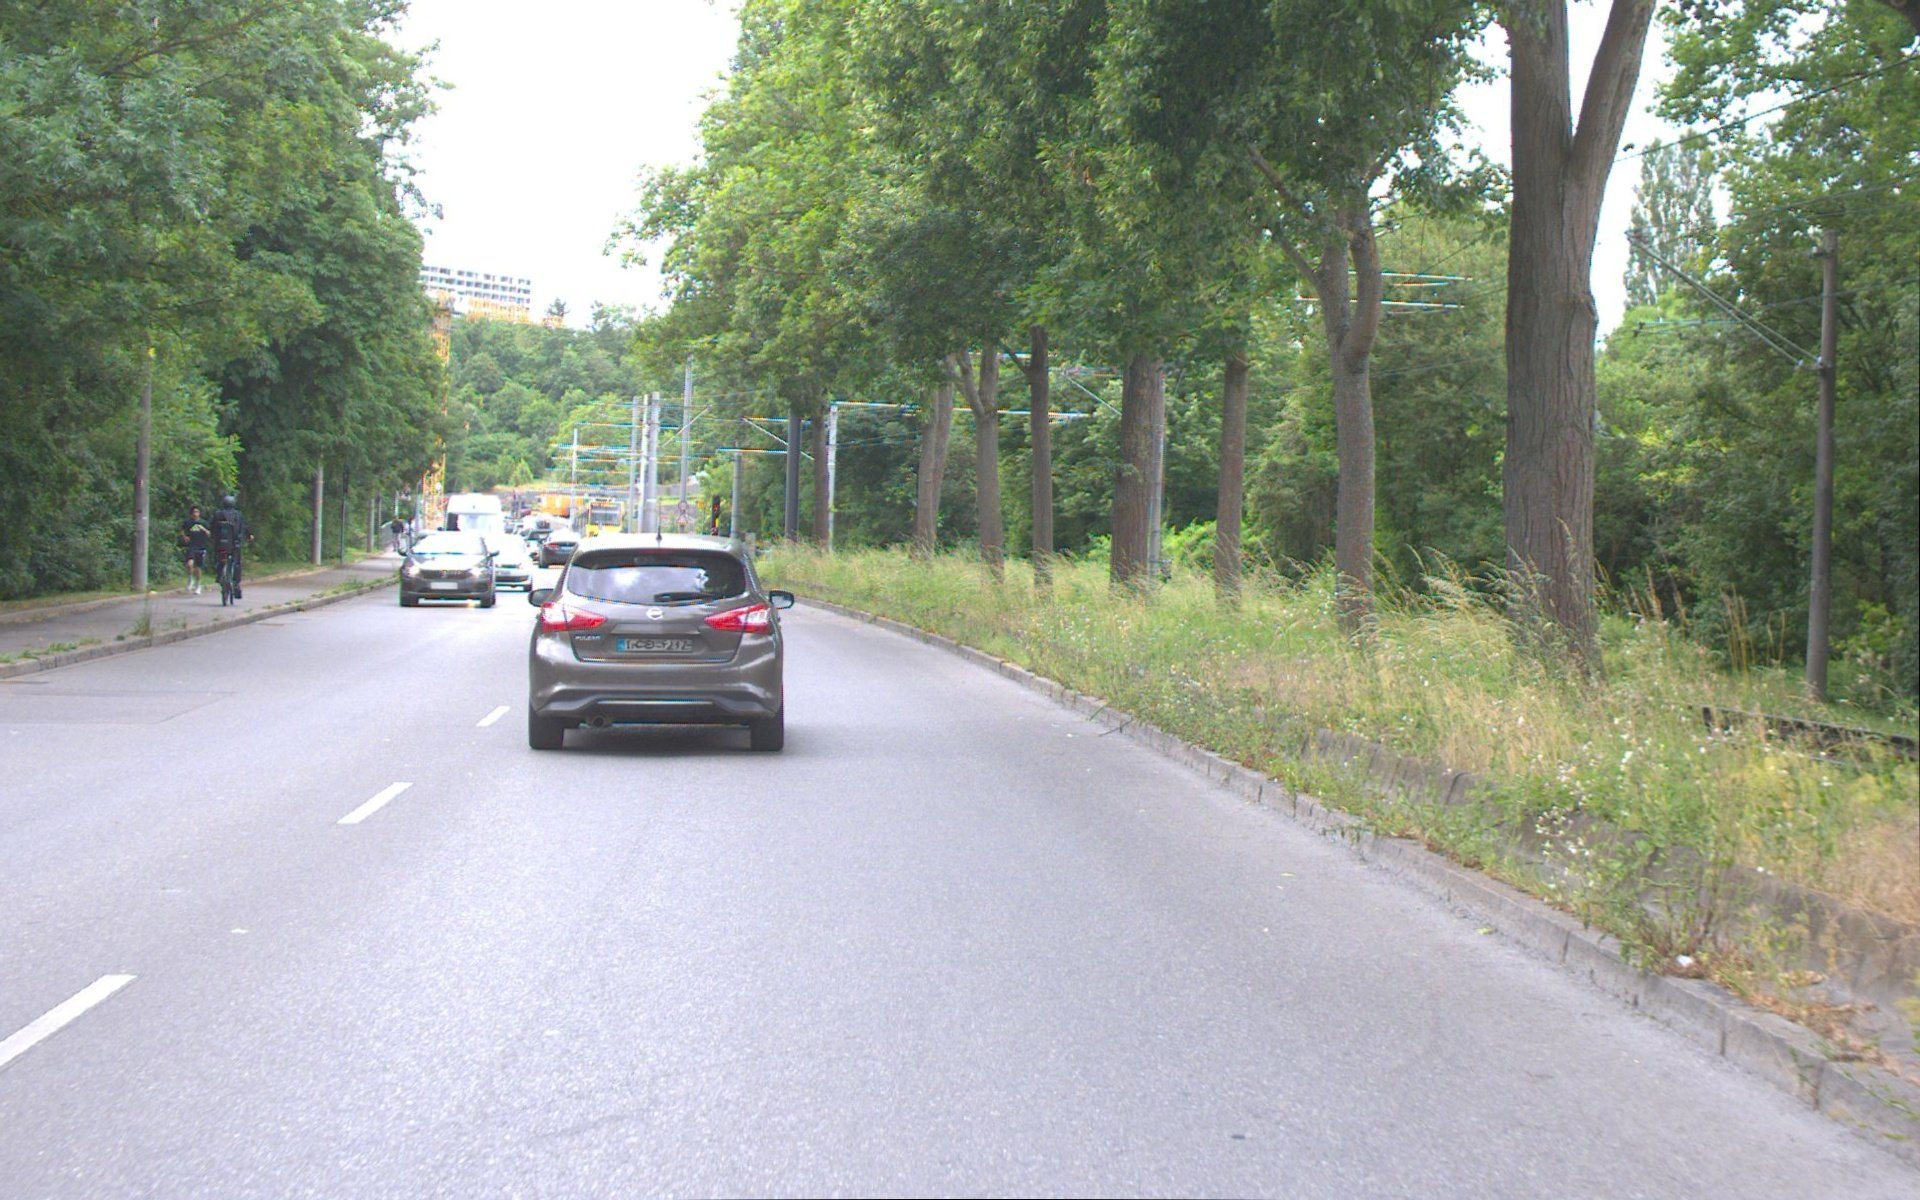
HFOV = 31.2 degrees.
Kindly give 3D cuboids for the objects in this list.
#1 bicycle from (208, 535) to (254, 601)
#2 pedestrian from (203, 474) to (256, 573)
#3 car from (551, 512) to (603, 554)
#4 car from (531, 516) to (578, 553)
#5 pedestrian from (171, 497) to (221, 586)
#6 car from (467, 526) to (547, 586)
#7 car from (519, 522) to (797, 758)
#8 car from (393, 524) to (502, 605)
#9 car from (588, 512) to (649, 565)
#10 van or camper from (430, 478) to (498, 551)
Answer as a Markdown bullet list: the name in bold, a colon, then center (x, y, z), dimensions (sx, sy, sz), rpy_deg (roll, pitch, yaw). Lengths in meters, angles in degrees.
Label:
- **bicycle**: center (-11.989, -0.529, 56.552), dimensions (0.488, 1.027, 1.124), rpy_deg (4, 2, -2)
- **pedestrian**: center (-11.997, -1.261, 56.492), dimensions (0.617, 1.566, 0.849), rpy_deg (4, 2, -2)
- **car**: center (-15.172, -2.660, 136.331), dimensions (1.775, 1.467, 4.001), rpy_deg (4, 2, -4)
- **car**: center (-17.759, -2.880, 150.721), dimensions (1.775, 1.467, 4.001), rpy_deg (3, 2, -4)
- **pedestrian**: center (-14.199, -1.092, 63.909), dimensions (0.695, 1.616, 0.684), rpy_deg (4, 2, -3)
- **car**: center (-11.382, -1.119, 86.453), dimensions (1.724, 1.326, 3.476), rpy_deg (3, 2, -4)
- **car**: center (-2.117, 0.225, 25.039), dimensions (1.816, 1.503, 4.001), rpy_deg (1, 2, -3)
- **car**: center (-10.091, -0.720, 67.875), dimensions (1.749, 1.459, 3.921), rpy_deg (3, 1, -4)
- **car**: center (-10.742, -1.943, 107.944), dimensions (1.775, 1.467, 4.001), rpy_deg (4, 2, -7)
- **van or camper**: center (-15.866, -2.752, 110.093), dimensions (1.925, 2.143, 3.933), rpy_deg (4, 2, -7)
